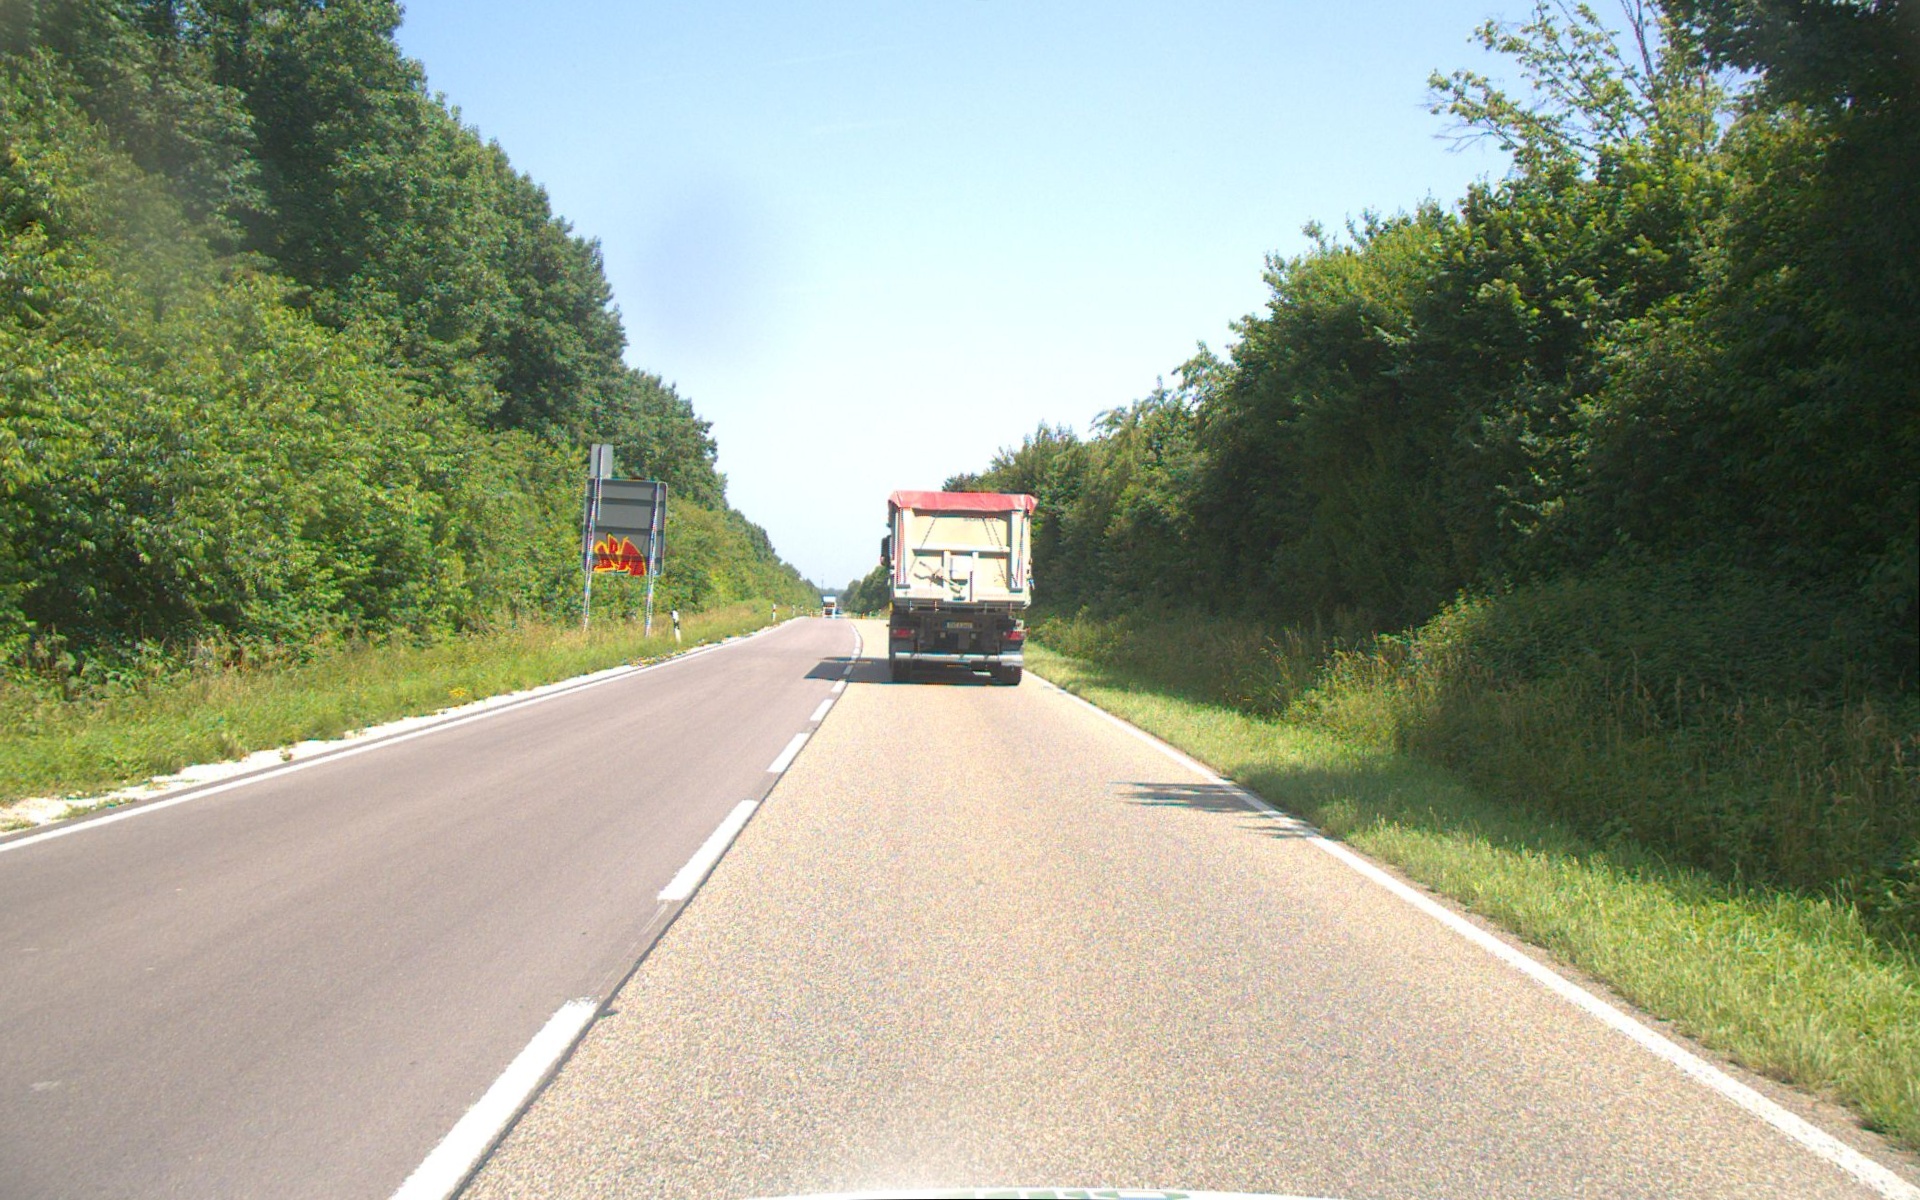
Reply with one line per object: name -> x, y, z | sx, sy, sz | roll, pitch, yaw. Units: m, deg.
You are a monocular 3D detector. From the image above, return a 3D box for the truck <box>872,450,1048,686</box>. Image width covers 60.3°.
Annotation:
truck -> -0.316, -0.578, 34.581 | 2.836, 4.032, 11.923 | 1, 0, -4
